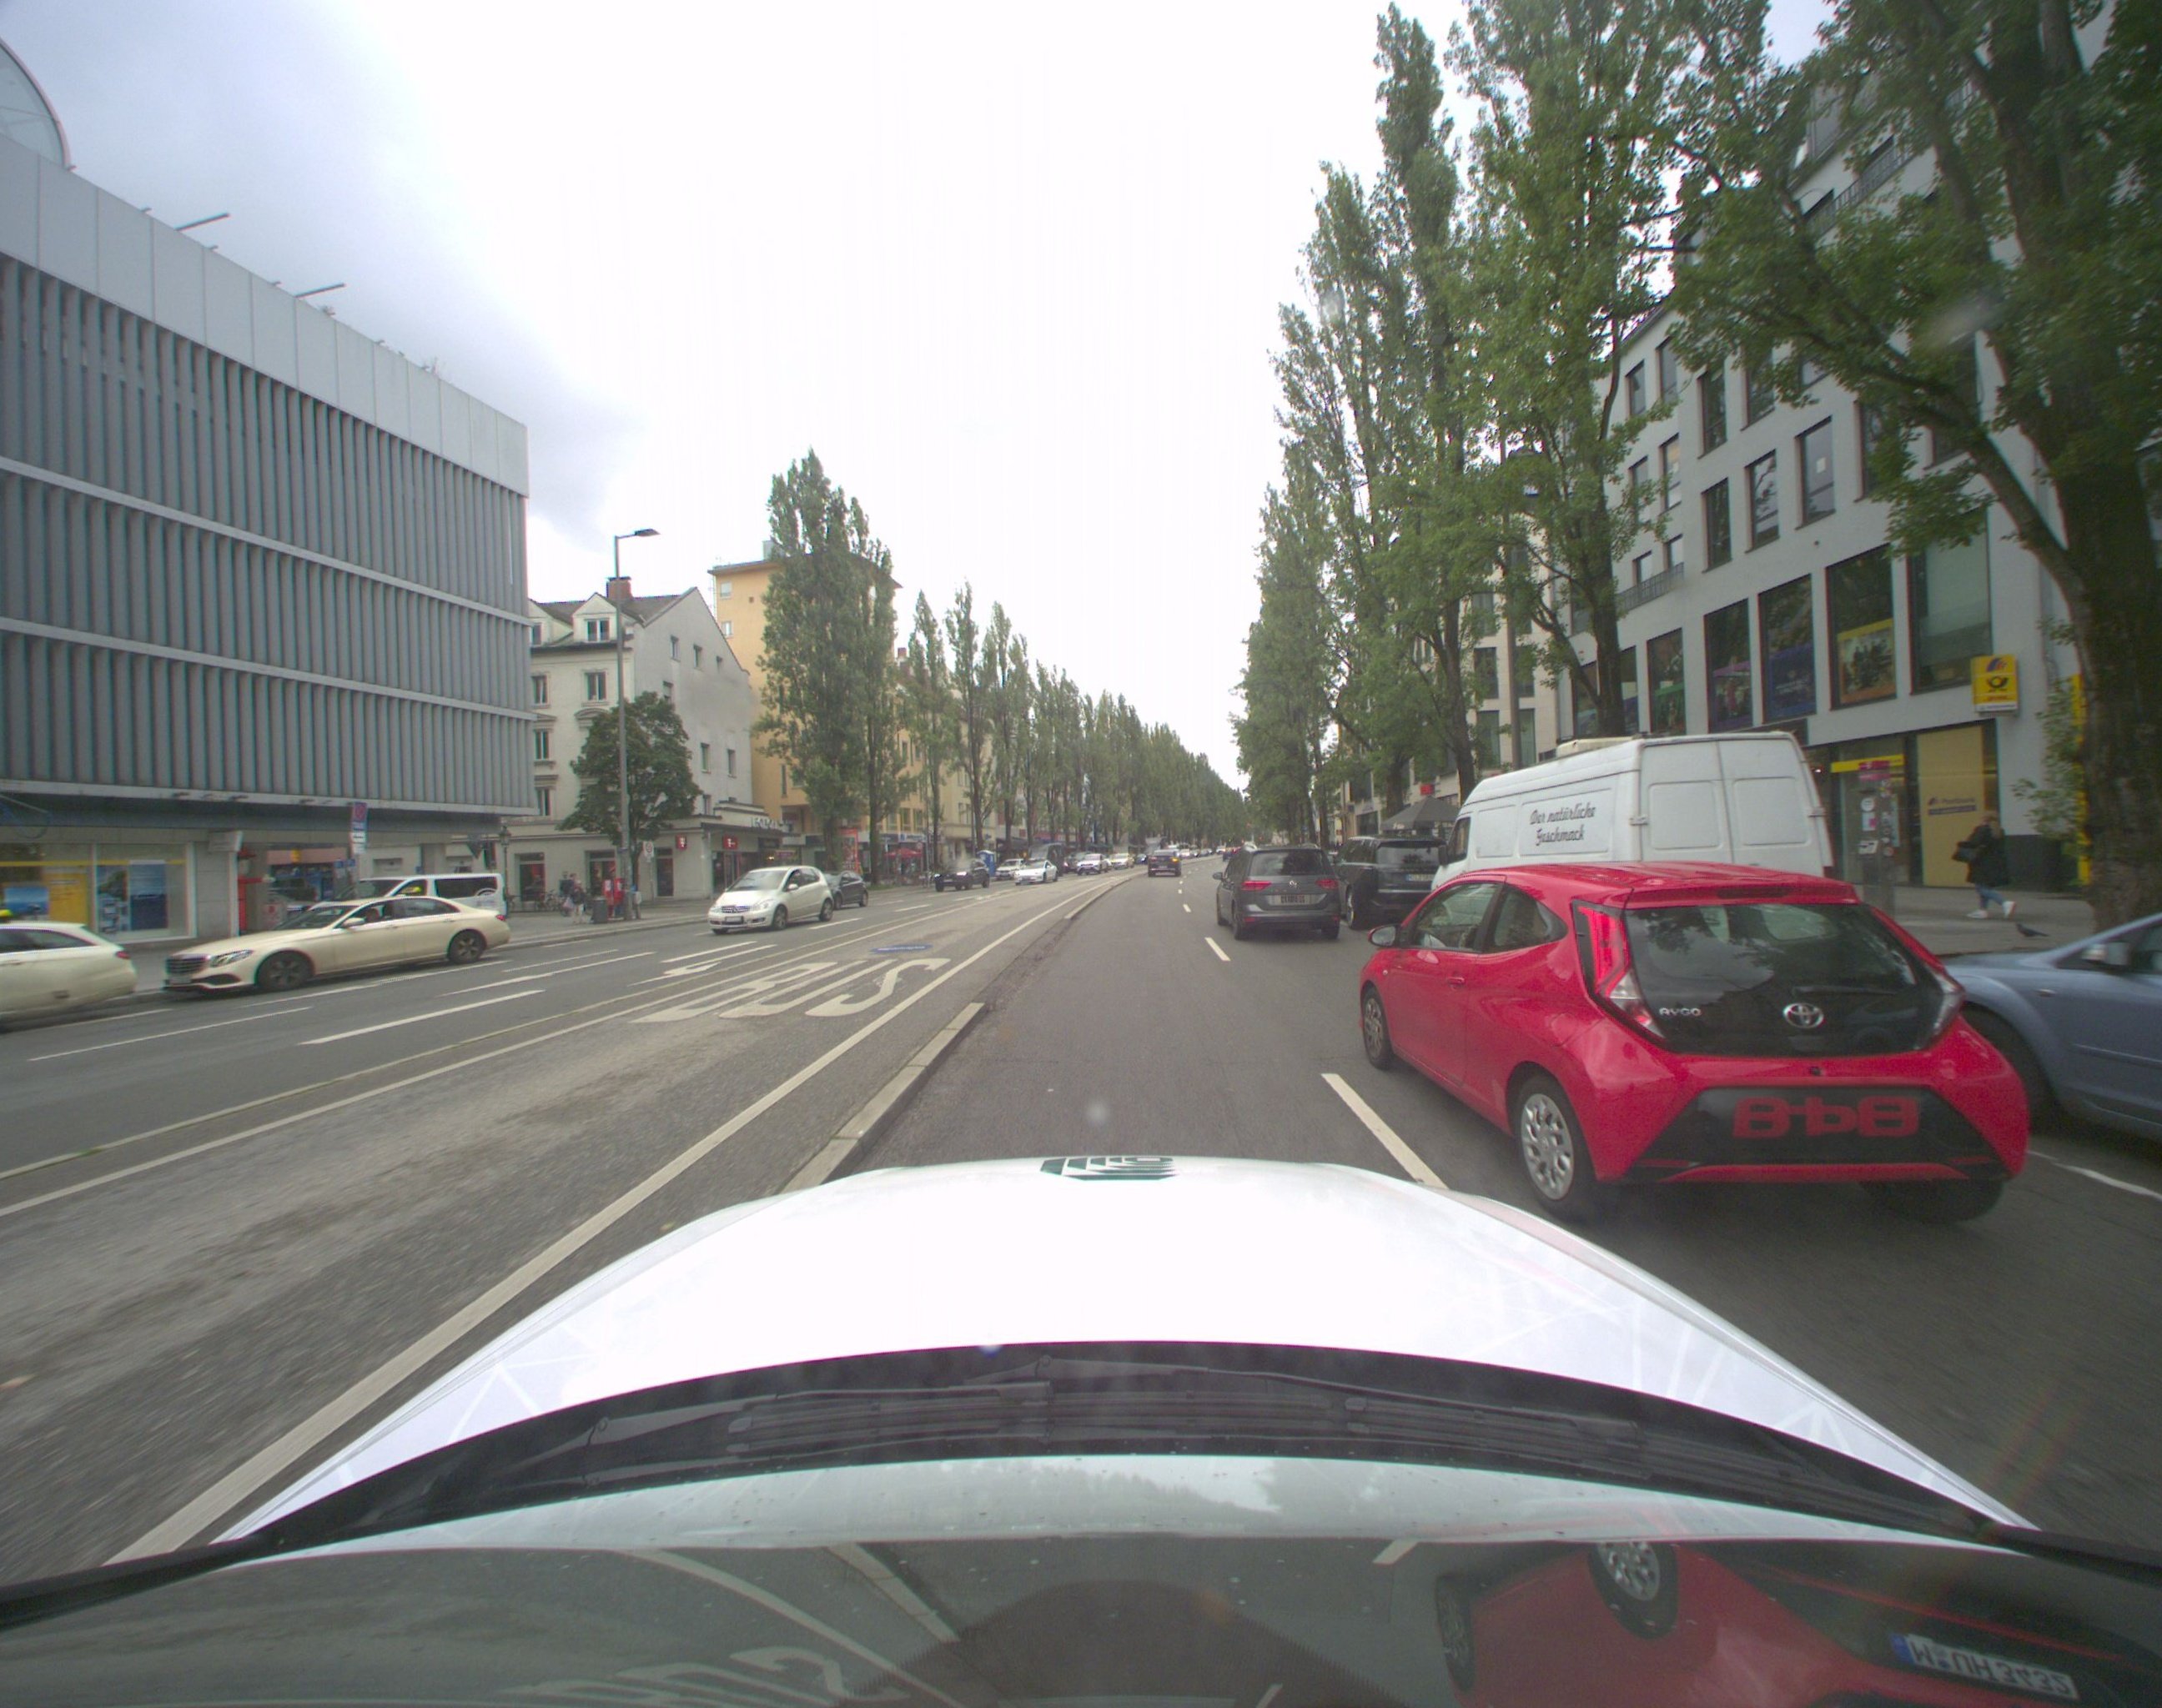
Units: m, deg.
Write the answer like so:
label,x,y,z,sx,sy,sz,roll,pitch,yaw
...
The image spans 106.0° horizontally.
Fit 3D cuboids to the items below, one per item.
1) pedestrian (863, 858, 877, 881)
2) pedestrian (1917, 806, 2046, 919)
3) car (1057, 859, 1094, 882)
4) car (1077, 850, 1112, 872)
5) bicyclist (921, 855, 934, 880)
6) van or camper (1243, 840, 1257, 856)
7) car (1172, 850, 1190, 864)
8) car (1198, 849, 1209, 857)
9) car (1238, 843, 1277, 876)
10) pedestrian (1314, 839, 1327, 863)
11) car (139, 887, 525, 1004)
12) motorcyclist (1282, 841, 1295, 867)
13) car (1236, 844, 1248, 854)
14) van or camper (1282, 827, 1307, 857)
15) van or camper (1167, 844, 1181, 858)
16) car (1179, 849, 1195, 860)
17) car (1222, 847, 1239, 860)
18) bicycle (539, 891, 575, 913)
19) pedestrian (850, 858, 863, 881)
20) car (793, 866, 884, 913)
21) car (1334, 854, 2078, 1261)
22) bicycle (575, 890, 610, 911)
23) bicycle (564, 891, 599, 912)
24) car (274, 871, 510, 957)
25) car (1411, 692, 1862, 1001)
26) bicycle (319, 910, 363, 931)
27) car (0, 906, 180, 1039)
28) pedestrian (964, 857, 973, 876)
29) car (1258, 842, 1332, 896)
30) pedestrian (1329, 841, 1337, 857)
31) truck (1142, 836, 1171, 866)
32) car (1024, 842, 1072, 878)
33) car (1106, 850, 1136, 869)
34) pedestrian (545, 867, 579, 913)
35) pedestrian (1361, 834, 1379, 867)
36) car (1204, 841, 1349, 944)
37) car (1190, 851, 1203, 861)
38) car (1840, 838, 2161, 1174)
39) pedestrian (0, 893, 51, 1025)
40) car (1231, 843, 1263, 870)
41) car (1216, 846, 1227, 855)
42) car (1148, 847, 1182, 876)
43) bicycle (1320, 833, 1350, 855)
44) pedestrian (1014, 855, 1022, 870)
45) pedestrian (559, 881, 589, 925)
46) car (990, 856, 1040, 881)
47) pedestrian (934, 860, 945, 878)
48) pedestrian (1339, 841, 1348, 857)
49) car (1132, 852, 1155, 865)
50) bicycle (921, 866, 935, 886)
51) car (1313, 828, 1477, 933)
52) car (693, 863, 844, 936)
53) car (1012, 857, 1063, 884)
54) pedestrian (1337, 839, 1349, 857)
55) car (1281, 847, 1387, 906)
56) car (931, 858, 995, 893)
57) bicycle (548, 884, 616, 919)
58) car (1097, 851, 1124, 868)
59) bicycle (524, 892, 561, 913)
label,x,y,z,sx,sy,sz,roll,pitch,yaw
pedestrian,-15.162,1.087,58.607,0.839,1.625,0.761,-1,-1,-8
pedestrian,13.888,0.126,12.596,0.796,1.636,1.024,-3,0,2
car,-0.477,1.473,74.860,1.979,1.863,5.732,-4,0,13
car,1.113,0.554,65.093,1.896,1.603,4.370,-3,0,13
bicyclist,-10.004,0.903,53.144,0.498,1.592,0.838,-3,0,14
van or camper,28.357,-1.011,136.301,2.020,2.475,4.015,-2,-1,14
car,13.984,0.437,113.275,1.847,1.711,4.553,-4,0,14
car,22.614,-0.243,150.294,1.699,1.414,3.737,-3,0,13
car,9.689,0.320,44.899,1.913,1.700,4.663,-1,0,10
pedestrian,19.317,-0.267,65.784,0.812,1.869,0.941,-3,0,10
car,-13.484,1.555,15.216,1.843,1.469,5.003,-5,0,15
motorcyclist,11.516,0.007,45.177,0.560,1.406,0.768,-3,0,10
car,31.387,-0.961,158.742,1.978,1.717,4.017,-3,0,16
van or camper,23.841,-1.302,90.853,2.442,3.112,4.735,-3,0,15
van or camper,17.294,-0.620,151.088,1.979,2.458,4.267,-2,0,14
car,16.436,0.082,125.876,1.926,1.642,4.480,-3,0,13
car,18.423,-0.035,100.196,1.747,1.619,3.761,-1,0,14
bicycle,-27.512,2.509,42.764,0.456,0.964,1.884,-3,0,7
pedestrian,-16.124,1.135,58.488,0.839,1.625,0.761,-1,-1,-9
car,-8.987,1.262,30.559,1.774,1.466,4.008,-3,0,7
car,2.791,0.745,4.723,1.658,1.446,3.598,-1,0,2
bicycle,-25.830,2.437,43.104,0.456,0.964,1.884,-3,0,7
bicycle,-26.435,2.492,43.089,0.456,0.964,1.884,-3,0,7
car,-19.927,1.643,23.966,1.981,2.013,5.127,-3,0,10
car,6.105,-0.044,10.095,1.985,2.741,5.559,-1,0,3
bicycle,-39.561,3.536,43.576,0.456,0.964,1.884,-3,0,7
car,-14.768,1.625,9.738,1.967,1.552,5.095,-3,0,6
pedestrian,-10.484,1.203,76.179,0.535,1.746,0.758,-2,0,14
car,7.338,0.466,28.283,1.719,1.686,4.414,-2,0,5
pedestrian,26.053,-0.496,84.207,0.667,1.613,0.643,-3,0,17
truck,9.170,-0.364,98.350,2.275,3.322,7.184,-4,0,14
car,-2.567,0.443,64.753,2.155,2.605,6.086,-3,0,13
car,3.897,0.540,78.490,1.980,1.589,5.212,-4,0,11
pedestrian,-22.430,1.560,35.184,0.850,1.898,0.837,-3,0,23
pedestrian,14.661,-0.180,41.300,0.607,1.619,0.796,-3,0,8
car,3.469,0.622,15.239,1.755,1.613,4.185,-2,0,1
car,19.377,0.401,136.185,1.655,1.596,4.015,-1,0,14
car,5.488,0.656,3.045,1.717,1.454,4.154,0,0,5
pedestrian,-15.852,1.525,11.926,0.793,1.867,0.836,-3,0,-44
car,10.336,0.122,50.941,1.799,1.500,4.820,-3,0,10
car,32.239,-0.810,187.227,1.986,2.014,4.001,-1,0,2
car,5.186,0.421,49.863,1.871,1.642,4.592,-3,0,7
bicycle,14.354,-0.561,46.077,1.471,1.207,0.536,-3,0,5
pedestrian,-7.045,0.943,91.206,0.633,1.700,0.650,-3,0,14
pedestrian,-18.033,1.723,28.977,0.542,1.494,0.656,-3,0,5
car,-5.224,1.109,65.082,2.155,1.763,6.086,-3,0,13
pedestrian,-12.363,1.313,71.089,0.629,1.561,0.819,-3,0,15
pedestrian,27.065,-0.533,83.863,0.814,1.613,0.782,-3,0,17
car,7.965,0.577,103.478,1.925,1.434,4.557,-3,0,16
bicycle,-9.966,1.426,53.145,0.365,1.201,1.158,-3,0,15
car,6.158,0.457,16.609,1.919,1.805,4.788,-1,0,6
car,-8.059,1.116,21.473,1.942,1.589,4.009,-3,0,8
car,-2.598,0.991,50.278,1.786,1.394,4.708,-3,0,14
pedestrian,22.928,-0.528,71.338,0.605,1.551,0.711,-4,0,-14
car,6.755,0.536,22.228,1.763,1.433,4.576,-1,0,4
car,-6.572,1.171,46.002,2.006,1.716,4.996,-3,0,10
bicycle,-21.427,2.033,35.022,0.839,1.308,2.318,-3,0,27
car,3.237,0.604,88.354,1.979,1.651,4.653,-4,0,14
bicycle,-28.305,2.524,42.845,0.456,0.964,1.884,-3,0,7
